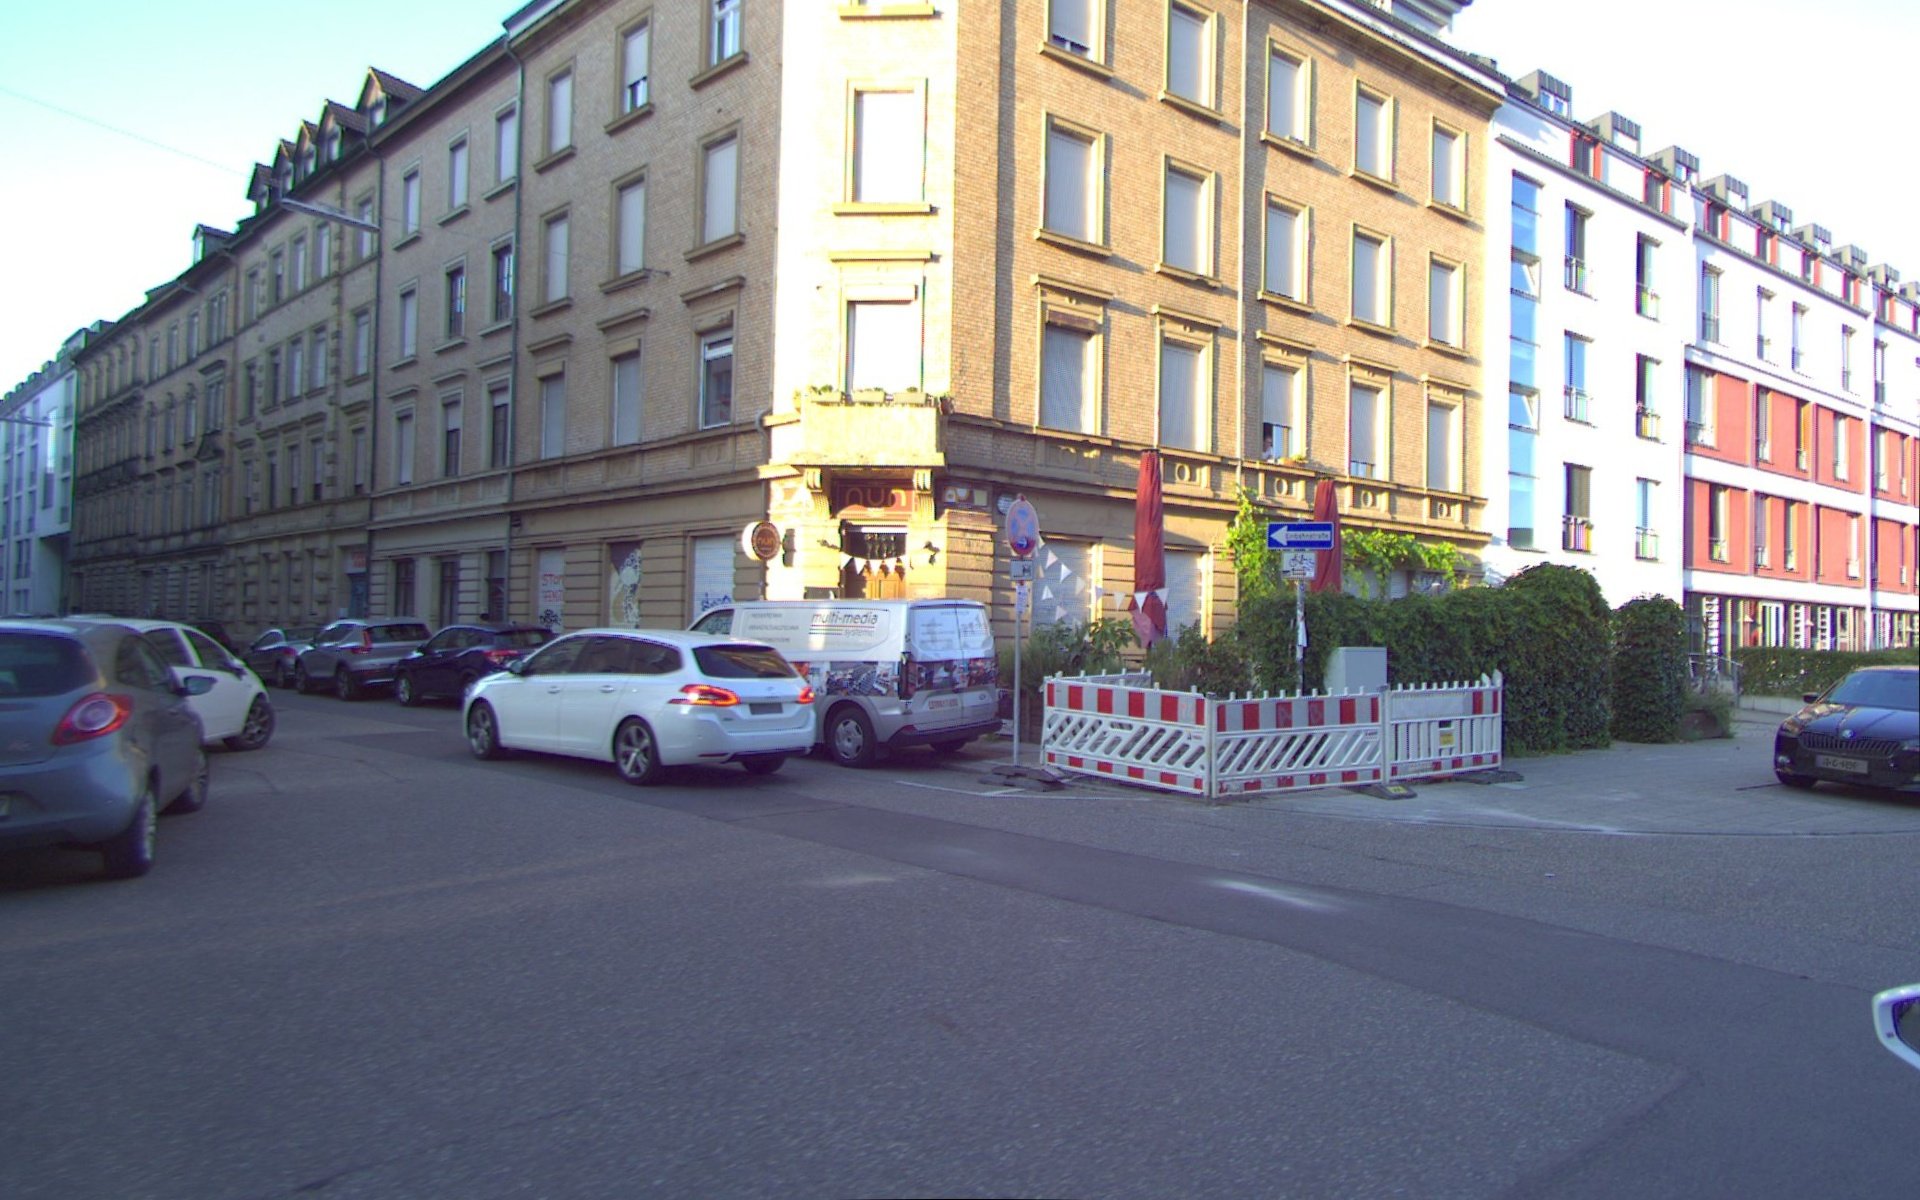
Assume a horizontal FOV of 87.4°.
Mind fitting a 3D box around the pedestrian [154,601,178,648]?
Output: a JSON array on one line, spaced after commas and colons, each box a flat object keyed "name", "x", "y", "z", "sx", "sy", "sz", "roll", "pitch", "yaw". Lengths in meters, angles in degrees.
[{"name": "pedestrian", "x": -31.375, "y": 0.983, "z": 39.714, "sx": 0.490, "sy": 1.831, "sz": 0.592, "roll": 2, "pitch": 0, "yaw": 37}]

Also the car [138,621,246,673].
[{"name": "car", "x": -23.657, "y": 1.402, "z": 30.908, "sx": 3.939, "sy": 1.479, "sz": 1.780, "roll": -1, "pitch": -2, "yaw": 39}]

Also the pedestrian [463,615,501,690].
[{"name": "pedestrian", "x": -11.166, "y": 1.225, "z": 23.453, "sx": 0.490, "sy": 1.709, "sz": 0.592, "roll": 2, "pitch": 0, "yaw": 37}]

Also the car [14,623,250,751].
[{"name": "car", "x": -11.421, "y": 1.066, "z": 13.758, "sx": 4.022, "sy": 1.458, "sz": 1.987, "roll": -1, "pitch": -2, "yaw": 43}]

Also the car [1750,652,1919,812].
[{"name": "car", "x": 11.011, "y": 1.442, "z": 11.627, "sx": 3.800, "sy": 1.554, "sz": 1.695, "roll": 3, "pitch": -2, "yaw": -31}]

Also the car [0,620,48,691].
[{"name": "car", "x": -21.837, "y": 1.184, "z": 22.219, "sx": 3.937, "sy": 1.486, "sz": 1.781, "roll": -1, "pitch": -2, "yaw": 38}]

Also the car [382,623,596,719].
[{"name": "car", "x": -8.902, "y": 1.254, "z": 18.930, "sx": 3.855, "sy": 1.592, "sz": 2.016, "roll": 0, "pitch": -2, "yaw": 35}]

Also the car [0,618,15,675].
[{"name": "car", "x": -25.782, "y": 1.151, "z": 25.632, "sx": 3.937, "sy": 1.426, "sz": 1.816, "roll": -1, "pitch": -2, "yaw": 38}]

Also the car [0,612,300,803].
[{"name": "car", "x": -8.627, "y": 0.946, "z": 10.376, "sx": 1.943, "sy": 1.528, "sz": 4.056, "roll": 2, "pitch": -1, "yaw": -18}]

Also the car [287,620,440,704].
[{"name": "car", "x": -12.904, "y": 1.267, "z": 21.652, "sx": 3.939, "sy": 1.644, "sz": 1.577, "roll": -1, "pitch": -2, "yaw": 39}]

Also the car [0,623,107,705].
[{"name": "car", "x": -17.958, "y": 1.167, "z": 19.100, "sx": 3.937, "sy": 1.426, "sz": 1.867, "roll": -1, "pitch": -2, "yaw": 38}]

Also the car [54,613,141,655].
[{"name": "car", "x": -34.189, "y": 1.313, "z": 39.787, "sx": 3.938, "sy": 1.578, "sz": 1.882, "roll": -1, "pitch": -2, "yaw": 38}]

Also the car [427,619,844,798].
[{"name": "car", "x": -3.568, "y": 1.006, "z": 10.741, "sx": 4.521, "sy": 1.543, "sz": 1.816, "roll": -1, "pitch": -3, "yaw": 34}]

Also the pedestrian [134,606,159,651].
[{"name": "pedestrian", "x": -31.734, "y": 1.110, "z": 39.178, "sx": 0.490, "sy": 1.709, "sz": 0.592, "roll": 2, "pitch": 0, "yaw": 37}]

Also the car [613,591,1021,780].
[{"name": "car", "x": -1.993, "y": 0.945, "z": 13.069, "sx": 5.209, "sy": 2.001, "sz": 2.201, "roll": 0, "pitch": -2, "yaw": 37}]

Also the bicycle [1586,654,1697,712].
[{"name": "bicycle", "x": 15.444, "y": 1.869, "z": 22.815, "sx": 0.802, "sy": 1.157, "sz": 1.907, "roll": 2, "pitch": -1, "yaw": -29}]

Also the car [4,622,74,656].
[{"name": "car", "x": -41.787, "y": 1.747, "z": 45.558, "sx": 3.939, "sy": 1.479, "sz": 1.780, "roll": -1, "pitch": -2, "yaw": 39}]

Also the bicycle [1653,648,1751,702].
[{"name": "bicycle", "x": 17.732, "y": 1.770, "z": 24.047, "sx": 0.603, "sy": 1.163, "sz": 1.769, "roll": 2, "pitch": -1, "yaw": -27}]

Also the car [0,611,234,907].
[{"name": "car", "x": -6.132, "y": 0.853, "z": 6.639, "sx": 1.824, "sy": 1.528, "sz": 3.489, "roll": 1, "pitch": -1, "yaw": -31}]

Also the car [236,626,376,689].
[{"name": "car", "x": -16.513, "y": 1.400, "z": 25.318, "sx": 3.939, "sy": 1.445, "sz": 1.836, "roll": -1, "pitch": -2, "yaw": 39}]
